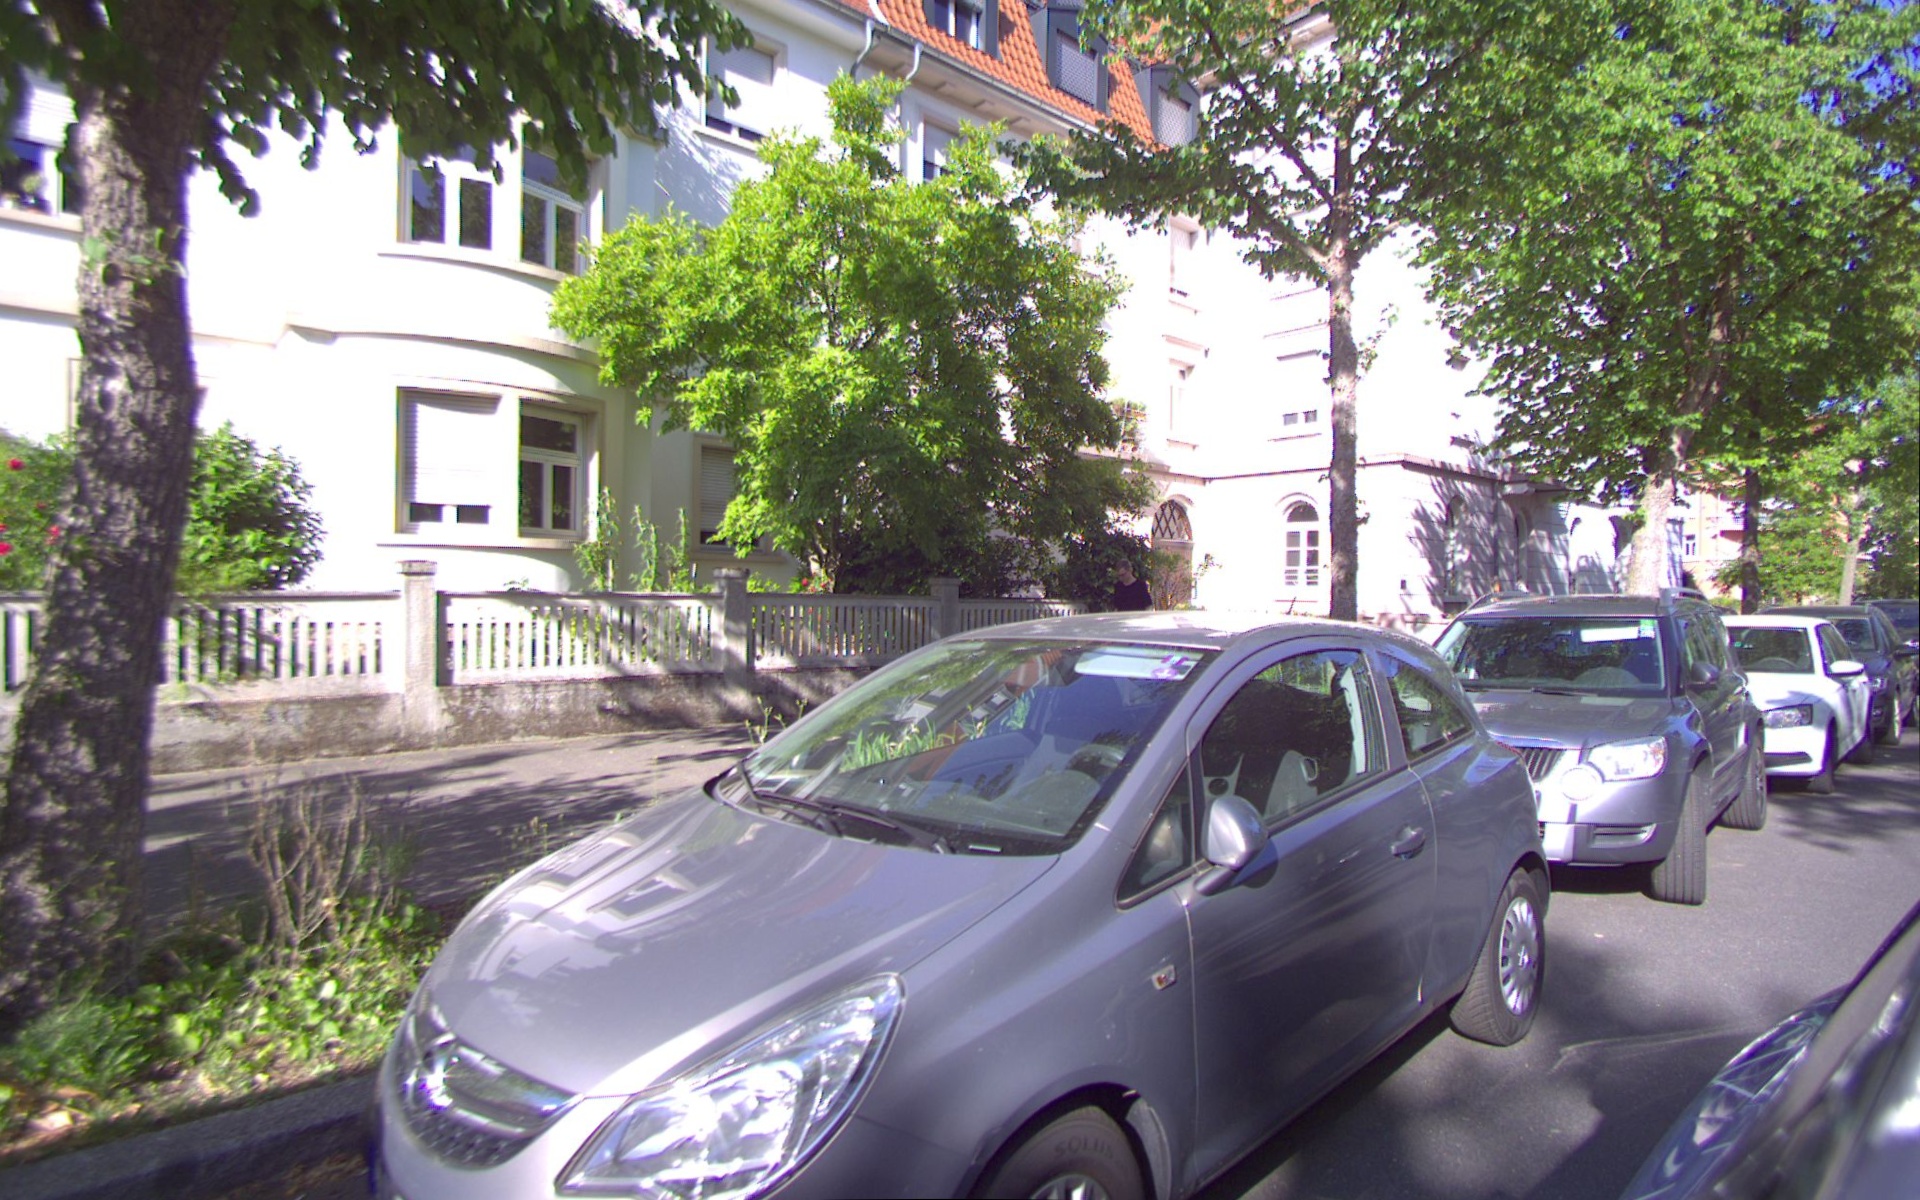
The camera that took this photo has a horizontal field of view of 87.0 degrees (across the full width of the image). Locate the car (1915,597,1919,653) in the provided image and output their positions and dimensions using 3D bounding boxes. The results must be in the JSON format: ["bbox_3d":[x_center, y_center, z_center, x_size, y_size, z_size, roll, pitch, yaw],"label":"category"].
[{"bbox_3d":[26.564,0.661,26.728,4.065,1.420,1.655,0,0,-42],"label":"car"}]

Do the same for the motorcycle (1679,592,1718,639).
[{"bbox_3d":[22.548,0.465,30.905,2.053,1.378,0.540,0,0,-42],"label":"motorcycle"}]

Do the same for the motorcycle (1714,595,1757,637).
[{"bbox_3d":[25.732,0.500,33.578,0.970,1.345,1.824,0,0,43],"label":"motorcycle"}]

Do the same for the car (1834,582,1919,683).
[{"bbox_3d":[17.840,0.566,18.884,4.223,1.719,1.783,0,1,-42],"label":"car"}]

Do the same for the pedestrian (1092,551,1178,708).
[{"bbox_3d":[2.084,0.327,12.027,0.786,1.797,0.623,0,1,-41],"label":"pedestrian"}]

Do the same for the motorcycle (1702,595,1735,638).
[{"bbox_3d":[24.305,0.514,32.419,0.656,1.295,1.773,3,2,42],"label":"motorcycle"}]

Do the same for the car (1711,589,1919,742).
[{"bbox_3d":[11.061,0.717,12.808,4.459,1.608,1.685,0,-2,-43],"label":"car"}]

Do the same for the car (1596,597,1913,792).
[{"bbox_3d":[7.759,0.718,9.722,4.292,1.443,1.632,0,1,-41],"label":"car"}]

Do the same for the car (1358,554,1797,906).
[{"bbox_3d":[4.287,0.614,6.763,3.784,1.676,1.649,0,0,-45],"label":"car"}]

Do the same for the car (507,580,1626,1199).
[{"bbox_3d":[0.680,0.692,3.240,3.552,1.446,1.651,0,1,-43],"label":"car"}]

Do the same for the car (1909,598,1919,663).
[{"bbox_3d":[23.143,0.683,23.414,1.612,1.427,4.281,1,0,45],"label":"car"}]
